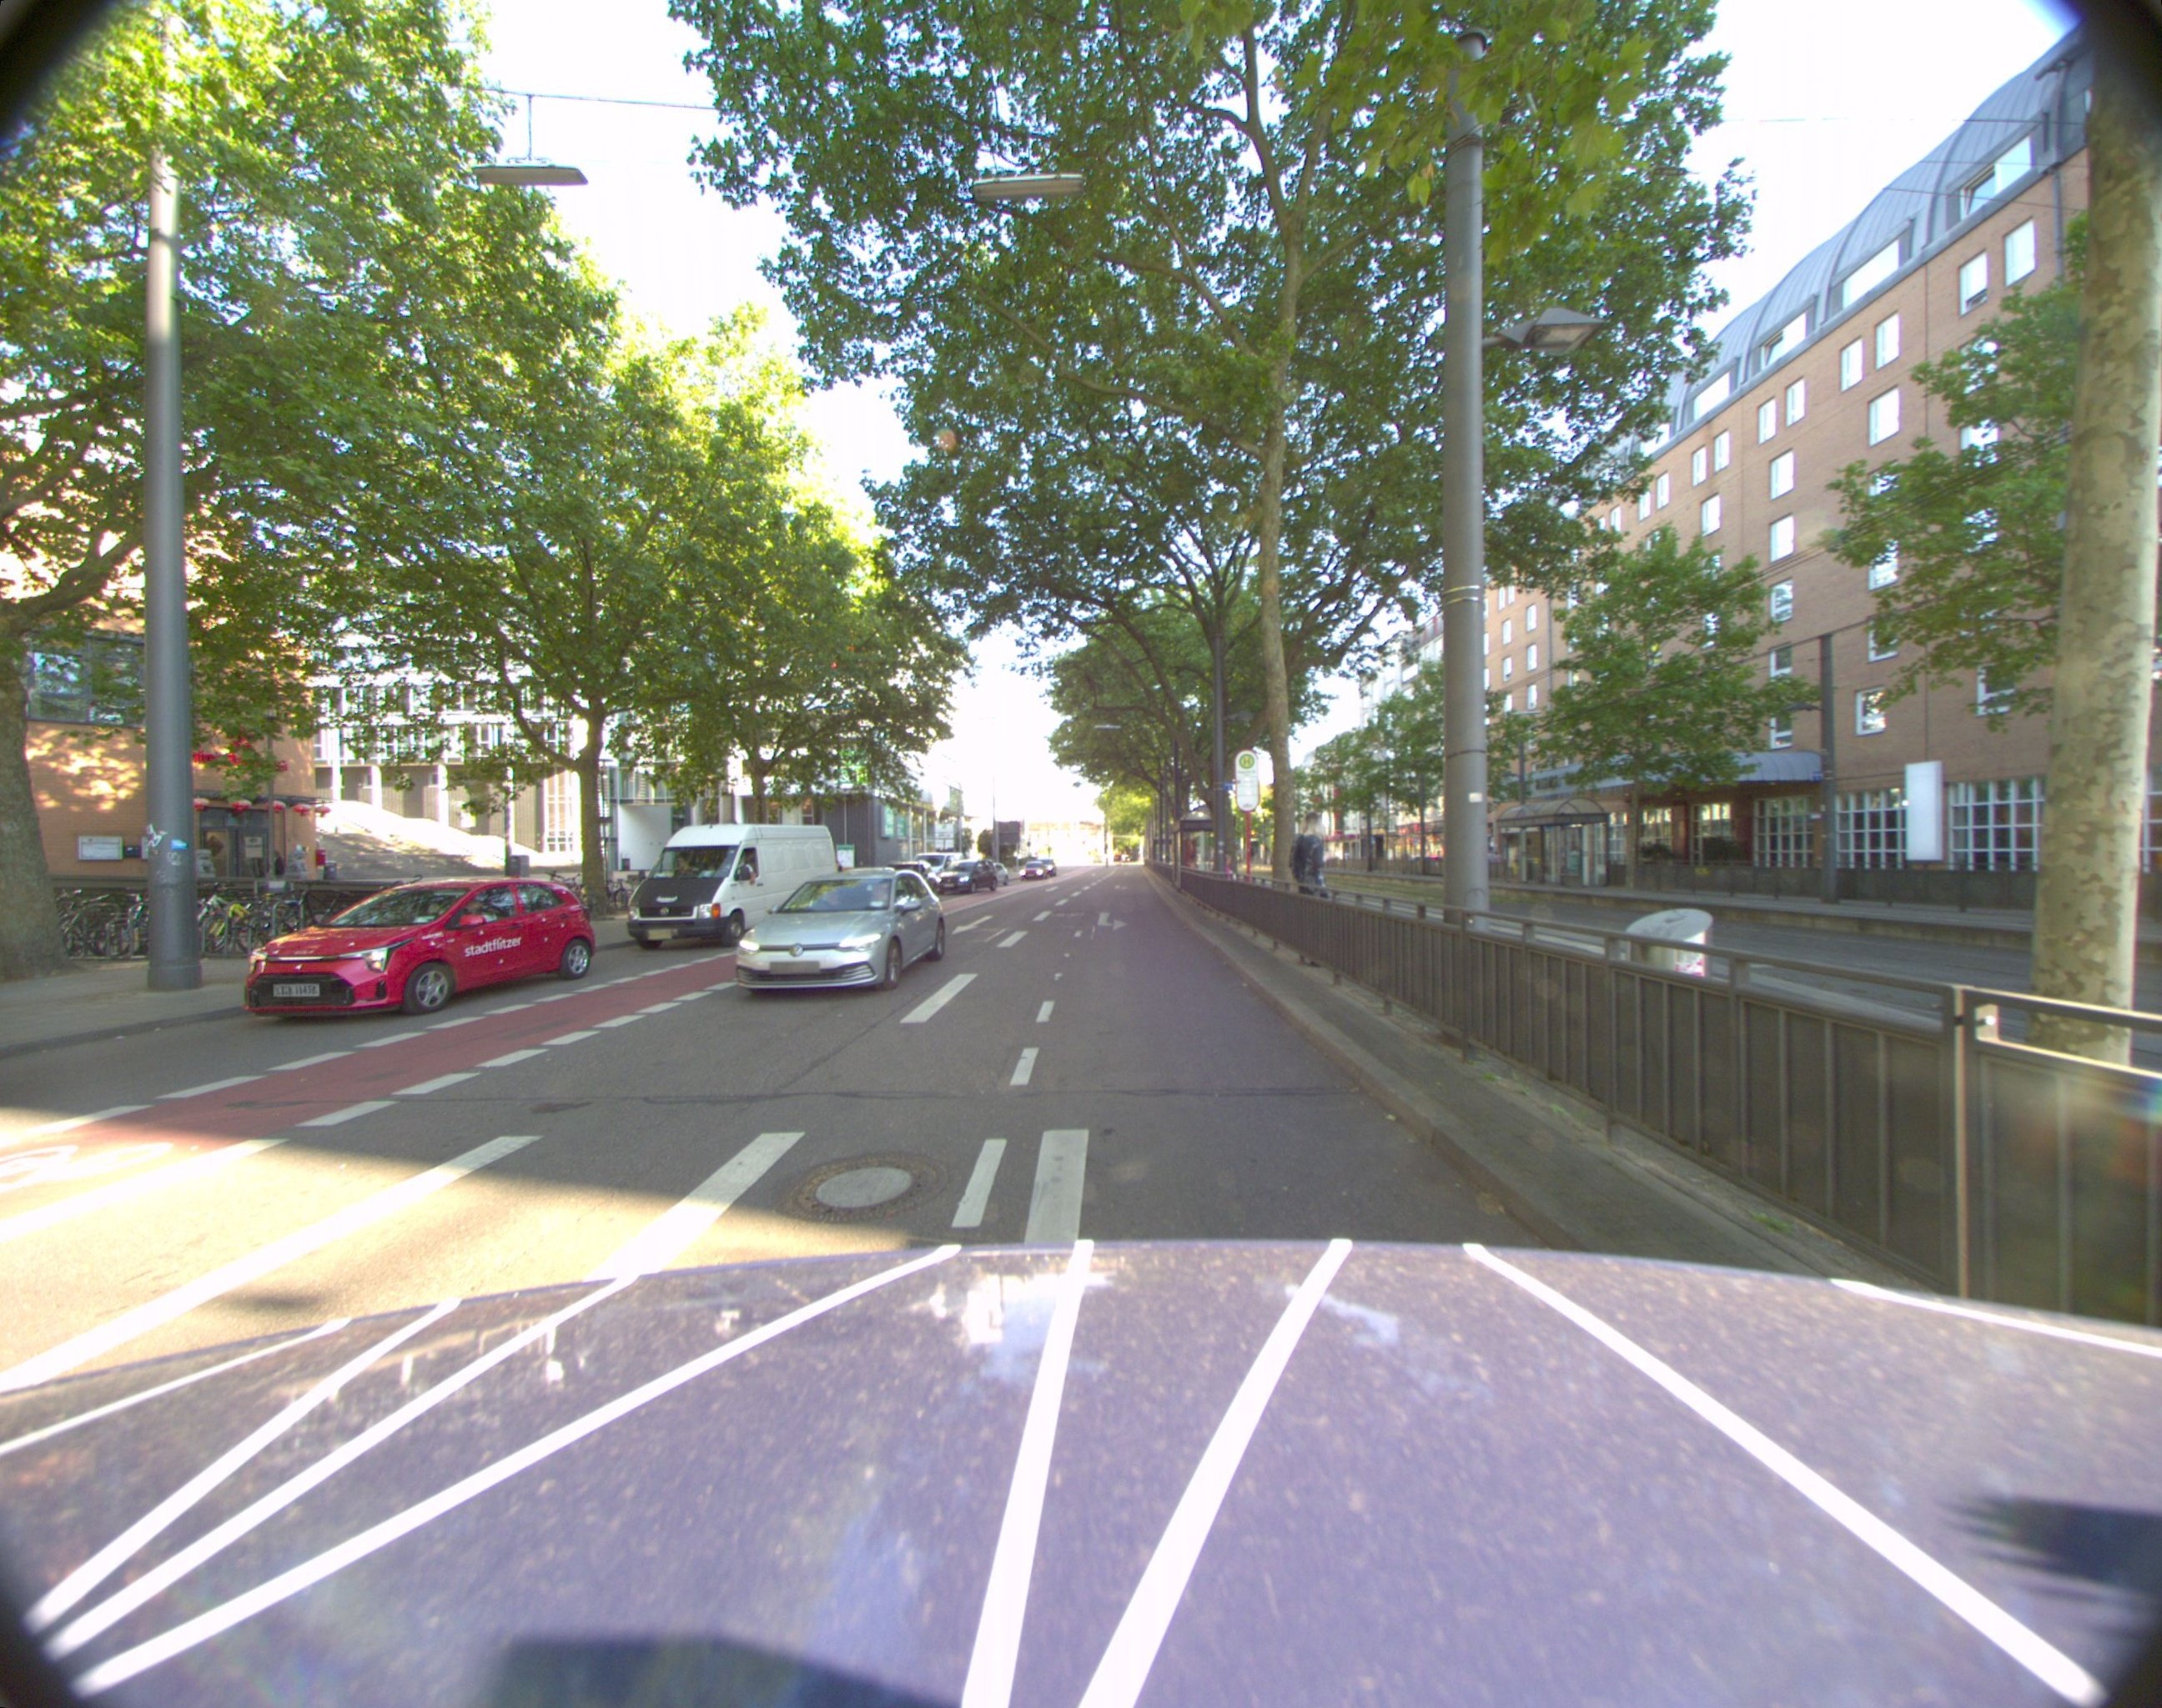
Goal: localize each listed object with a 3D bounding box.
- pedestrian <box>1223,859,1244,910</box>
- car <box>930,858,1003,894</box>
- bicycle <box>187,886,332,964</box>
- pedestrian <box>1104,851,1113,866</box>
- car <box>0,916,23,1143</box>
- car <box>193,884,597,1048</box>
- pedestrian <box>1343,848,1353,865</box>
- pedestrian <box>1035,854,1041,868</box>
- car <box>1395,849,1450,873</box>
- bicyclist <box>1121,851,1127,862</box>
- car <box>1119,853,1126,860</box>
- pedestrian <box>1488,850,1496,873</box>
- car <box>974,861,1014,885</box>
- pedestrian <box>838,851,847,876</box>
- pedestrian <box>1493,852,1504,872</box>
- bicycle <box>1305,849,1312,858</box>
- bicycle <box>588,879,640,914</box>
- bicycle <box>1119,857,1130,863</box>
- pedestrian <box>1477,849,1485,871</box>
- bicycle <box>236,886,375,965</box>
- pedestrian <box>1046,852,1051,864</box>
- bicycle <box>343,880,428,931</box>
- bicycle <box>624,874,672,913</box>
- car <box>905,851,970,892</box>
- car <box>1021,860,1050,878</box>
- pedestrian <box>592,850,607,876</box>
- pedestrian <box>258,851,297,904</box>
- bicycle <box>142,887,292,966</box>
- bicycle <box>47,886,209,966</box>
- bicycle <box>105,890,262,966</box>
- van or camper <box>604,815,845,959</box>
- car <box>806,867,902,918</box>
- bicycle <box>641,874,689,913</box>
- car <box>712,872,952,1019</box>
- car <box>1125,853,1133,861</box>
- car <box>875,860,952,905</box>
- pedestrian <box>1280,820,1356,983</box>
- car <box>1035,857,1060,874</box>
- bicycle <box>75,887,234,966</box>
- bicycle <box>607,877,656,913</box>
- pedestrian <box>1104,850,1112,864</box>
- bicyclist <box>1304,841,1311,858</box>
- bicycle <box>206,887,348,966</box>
[{"bbox_3d":[3.934,0.779,19.627,0.500,1.308,0.419,0,1,8],"label":"pedestrian"},{"bbox_3d":[-5.515,1.016,37.170,1.964,1.610,4.335,-1,0,14],"label":"car"},{"bbox_3d":[-14.324,1.201,13.329,0.484,1.187,1.850,0,0,1],"label":"bicycle"},{"bbox_3d":[3.841,0.640,106.566,0.771,2.002,0.832,-1,1,39],"label":"pedestrian"},{"bbox_3d":[-7.980,1.168,2.954,1.743,1.476,4.251,-1,0,0],"label":"car"},{"bbox_3d":[-7.954,1.178,9.347,1.606,1.449,3.651,-1,0,0],"label":"car"},{"bbox_3d":[31.457,0.296,89.517,0.806,2.002,0.763,-1,1,1],"label":"pedestrian"},{"bbox_3d":[-5.106,0.820,90.696,0.648,1.644,0.643,-1,1,1],"label":"pedestrian"},{"bbox_3d":[22.231,0.422,49.588,1.760,1.479,4.309,-1,0,2],"label":"car"},{"bbox_3d":[6.415,0.367,113.310,0.714,1.707,0.673,-1,1,-2],"label":"bicyclist"},{"bbox_3d":[11.950,0.667,219.701,1.998,2.002,4.001,-1,0,4],"label":"car"},{"bbox_3d":[28.012,0.517,51.824,0.438,1.511,0.659,0,1,23],"label":"pedestrian"},{"bbox_3d":[-5.490,1.167,48.379,1.801,1.369,4.001,0,0,3],"label":"car"},{"bbox_3d":[-13.228,0.532,42.120,0.301,1.367,0.502,-1,1,4],"label":"pedestrian"},{"bbox_3d":[30.590,0.600,55.626,0.519,1.427,0.516,0,1,4],"label":"pedestrian"},{"bbox_3d":[26.052,-0.024,87.096,0.451,0.998,1.753,-1,0,6],"label":"bicycle"},{"bbox_3d":[-15.218,1.365,24.798,0.516,1.027,1.850,0,0,1],"label":"bicycle"},{"bbox_3d":[6.474,0.919,113.307,1.670,0.879,0.581,-1,1,-1],"label":"bicycle"},{"bbox_3d":[27.407,0.424,52.032,0.438,1.497,0.659,0,1,23],"label":"pedestrian"},{"bbox_3d":[-13.316,1.194,13.132,0.482,1.187,1.850,0,0,1],"label":"bicycle"},{"bbox_3d":[-4.374,0.502,101.652,0.611,1.644,0.583,-1,1,1],"label":"pedestrian"},{"bbox_3d":[-17.881,1.287,19.596,0.517,1.187,1.790,0,0,1],"label":"bicycle"},{"bbox_3d":[-14.114,1.268,24.824,0.495,1.187,1.850,0,0,1],"label":"bicycle"},{"bbox_3d":[-7.500,0.863,40.293,1.965,1.983,4.960,-1,0,7],"label":"car"},{"bbox_3d":[-3.553,1.151,59.996,1.801,1.369,4.001,0,0,3],"label":"car"},{"bbox_3d":[-29.300,0.561,46.243,0.719,1.549,0.639,-1,1,-35],"label":"pedestrian"},{"bbox_3d":[-31.094,0.889,29.408,0.875,2.025,0.586,0,1,6],"label":"pedestrian"},{"bbox_3d":[-14.841,1.200,13.129,0.447,1.187,1.850,0,0,1],"label":"bicycle"},{"bbox_3d":[-16.385,1.198,13.142,0.435,1.187,1.850,0,0,1],"label":"bicycle"},{"bbox_3d":[-15.424,1.236,13.137,0.485,1.118,1.850,0,0,1],"label":"bicycle"},{"bbox_3d":[-7.516,0.600,17.119,1.998,2.563,6.575,-2,0,3],"label":"van or camper"},{"bbox_3d":[-7.273,1.195,24.736,1.682,1.420,4.001,-1,0,3],"label":"car"},{"bbox_3d":[-13.570,1.269,24.845,0.522,1.187,1.850,0,0,1],"label":"bicycle"},{"bbox_3d":[-3.053,1.045,10.255,1.733,1.432,4.000,-2,0,2],"label":"car"},{"bbox_3d":[12.489,0.697,195.789,1.998,2.002,4.001,-1,0,4],"label":"car"},{"bbox_3d":[-6.641,1.082,30.595,1.818,1.610,4.229,-1,0,5],"label":"car"},{"bbox_3d":[2.852,0.535,9.128,0.624,1.873,0.605,-3,3,-36],"label":"pedestrian"},{"bbox_3d":[-2.979,1.043,67.810,1.801,1.438,4.001,0,0,3],"label":"car"},{"bbox_3d":[-15.922,1.203,13.140,0.458,1.187,1.850,0,0,1],"label":"bicycle"},{"bbox_3d":[-14.657,1.318,24.823,0.522,1.088,1.797,0,0,1],"label":"bicycle"},{"bbox_3d":[3.920,0.390,108.892,0.771,2.002,0.832,0,1,41],"label":"pedestrian"},{"bbox_3d":[25.963,-0.490,87.141,0.572,1.893,0.813,0,1,6],"label":"bicyclist"},{"bbox_3d":[-13.819,1.205,13.138,0.448,1.187,1.850,0,0,1],"label":"bicycle"}]
